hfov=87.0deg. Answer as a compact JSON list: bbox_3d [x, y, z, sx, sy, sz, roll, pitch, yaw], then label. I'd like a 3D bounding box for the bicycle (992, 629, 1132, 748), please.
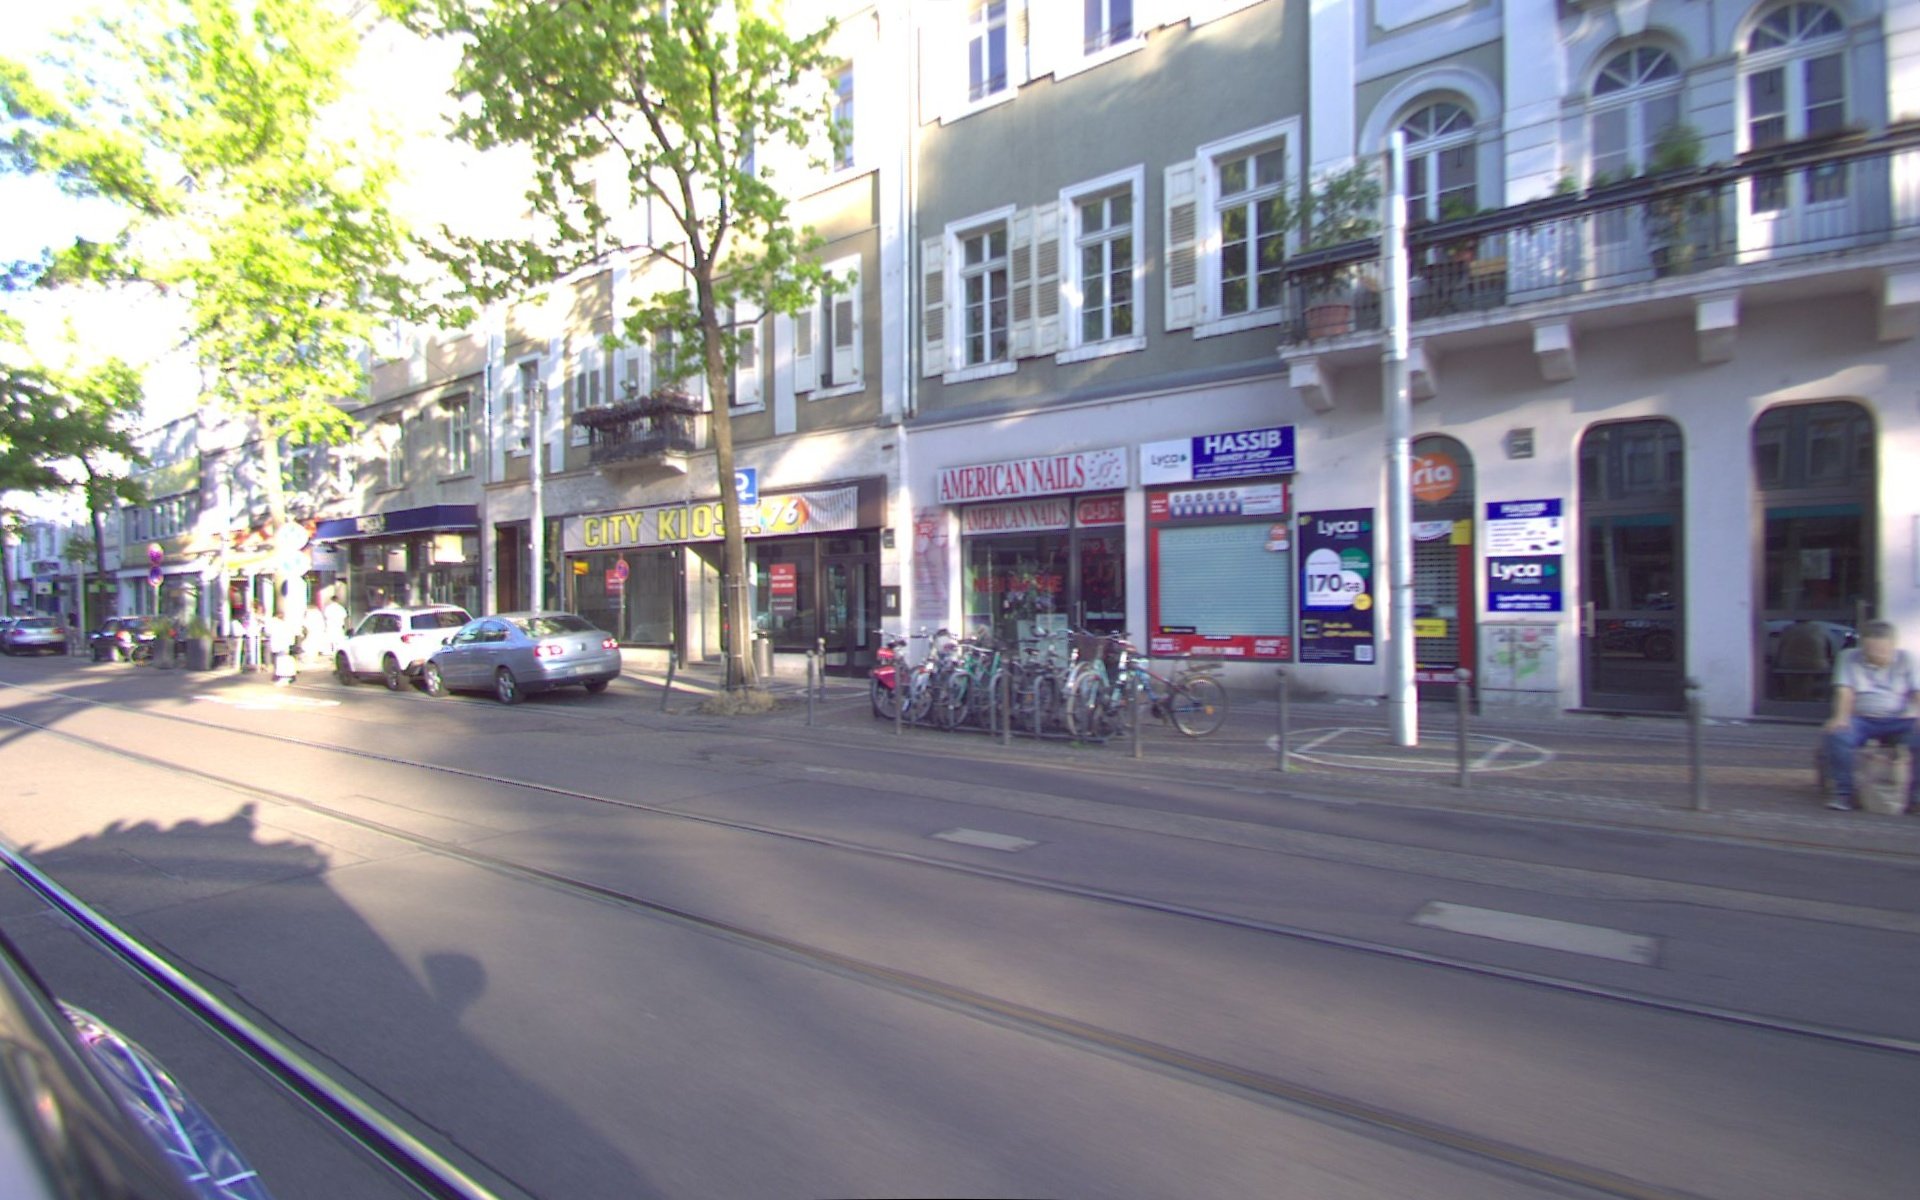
[{"bbox_3d":[1.180,0.938,11.333,0.501,1.113,2.003,0,2,40],"label":"bicycle"}]

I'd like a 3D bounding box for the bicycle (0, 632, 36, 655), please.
[{"bbox_3d":[-43.373,1.966,46.056,0.330,1.009,1.950,-1,-1,40],"label":"bicycle"}]

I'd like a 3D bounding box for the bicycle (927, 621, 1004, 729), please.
[{"bbox_3d":[0.103,0.858,12.355,0.496,1.113,2.022,-1,1,13],"label":"bicycle"}]

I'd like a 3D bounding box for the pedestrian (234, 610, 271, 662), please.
[{"bbox_3d":[-23.668,1.209,33.836,0.912,1.706,0.781,-2,-1,37],"label":"pedestrian"}]

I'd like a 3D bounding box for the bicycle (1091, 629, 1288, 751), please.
[{"bbox_3d":[2.389,0.902,10.517,1.995,1.113,0.502,-2,1,-17],"label":"bicycle"}]

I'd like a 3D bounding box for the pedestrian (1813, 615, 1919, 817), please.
[{"bbox_3d":[6.450,0.760,6.915,0.855,1.300,0.721,-2,0,36],"label":"pedestrian"}]

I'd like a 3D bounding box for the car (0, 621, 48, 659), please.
[{"bbox_3d":[-40.714,1.685,43.351,4.480,1.472,1.695,-1,1,39],"label":"car"}]

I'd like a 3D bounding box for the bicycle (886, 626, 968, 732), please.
[{"bbox_3d":[-0.377,0.940,12.756,0.496,1.113,2.107,-1,1,13],"label":"bicycle"}]

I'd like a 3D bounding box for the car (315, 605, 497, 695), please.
[{"bbox_3d":[-11.598,0.981,21.091,4.111,1.591,1.819,-1,3,39],"label":"car"}]

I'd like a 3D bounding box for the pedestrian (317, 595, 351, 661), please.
[{"bbox_3d":[-19.576,0.864,31.639,0.642,2.029,0.715,-1,-1,38],"label":"pedestrian"}]

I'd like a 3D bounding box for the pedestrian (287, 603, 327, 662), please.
[{"bbox_3d":[-20.036,0.980,31.047,1.088,1.774,0.715,-1,-1,38],"label":"pedestrian"}]

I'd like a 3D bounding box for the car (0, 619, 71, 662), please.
[{"bbox_3d":[-35.801,1.514,39.093,4.174,1.508,1.748,-1,0,42],"label":"car"}]

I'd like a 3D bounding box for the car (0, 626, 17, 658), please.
[{"bbox_3d":[-48.323,2.092,49.799,4.229,1.501,1.778,-1,1,32],"label":"car"}]

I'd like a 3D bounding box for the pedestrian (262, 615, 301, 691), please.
[{"bbox_3d":[-14.386,1.103,21.455,0.633,1.581,0.516,0,-1,39],"label":"pedestrian"}]

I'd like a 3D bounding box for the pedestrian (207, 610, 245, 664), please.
[{"bbox_3d":[-23.812,1.185,32.826,0.739,1.706,0.836,-2,-1,37],"label":"pedestrian"}]

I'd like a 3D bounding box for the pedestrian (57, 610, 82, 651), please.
[{"bbox_3d":[-40.852,1.394,46.435,0.877,1.839,0.653,-2,2,38],"label":"pedestrian"}]

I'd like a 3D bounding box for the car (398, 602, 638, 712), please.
[{"bbox_3d":[-7.859,0.922,17.787,4.696,1.591,1.819,-1,3,39],"label":"car"}]

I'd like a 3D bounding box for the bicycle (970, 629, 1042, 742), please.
[{"bbox_3d":[0.577,0.955,11.988,0.496,1.113,2.022,-1,1,13],"label":"bicycle"}]

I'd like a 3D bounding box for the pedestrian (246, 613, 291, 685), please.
[{"bbox_3d":[-14.994,1.050,21.940,0.729,1.521,0.614,0,-1,39],"label":"pedestrian"}]

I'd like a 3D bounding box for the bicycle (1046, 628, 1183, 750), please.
[{"bbox_3d":[1.736,0.924,11.095,0.501,1.113,2.003,0,2,40],"label":"bicycle"}]

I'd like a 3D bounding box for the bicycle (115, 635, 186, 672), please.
[{"bbox_3d":[-24.241,1.583,30.331,0.432,0.972,1.598,-2,1,43],"label":"bicycle"}]

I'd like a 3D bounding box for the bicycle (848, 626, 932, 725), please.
[{"bbox_3d":[-0.894,0.954,13.448,0.562,1.113,1.944,-1,1,13],"label":"bicycle"}]

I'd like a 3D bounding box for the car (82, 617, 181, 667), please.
[{"bbox_3d":[-27.083,1.355,33.048,3.821,1.439,1.650,-1,2,38],"label":"car"}]
